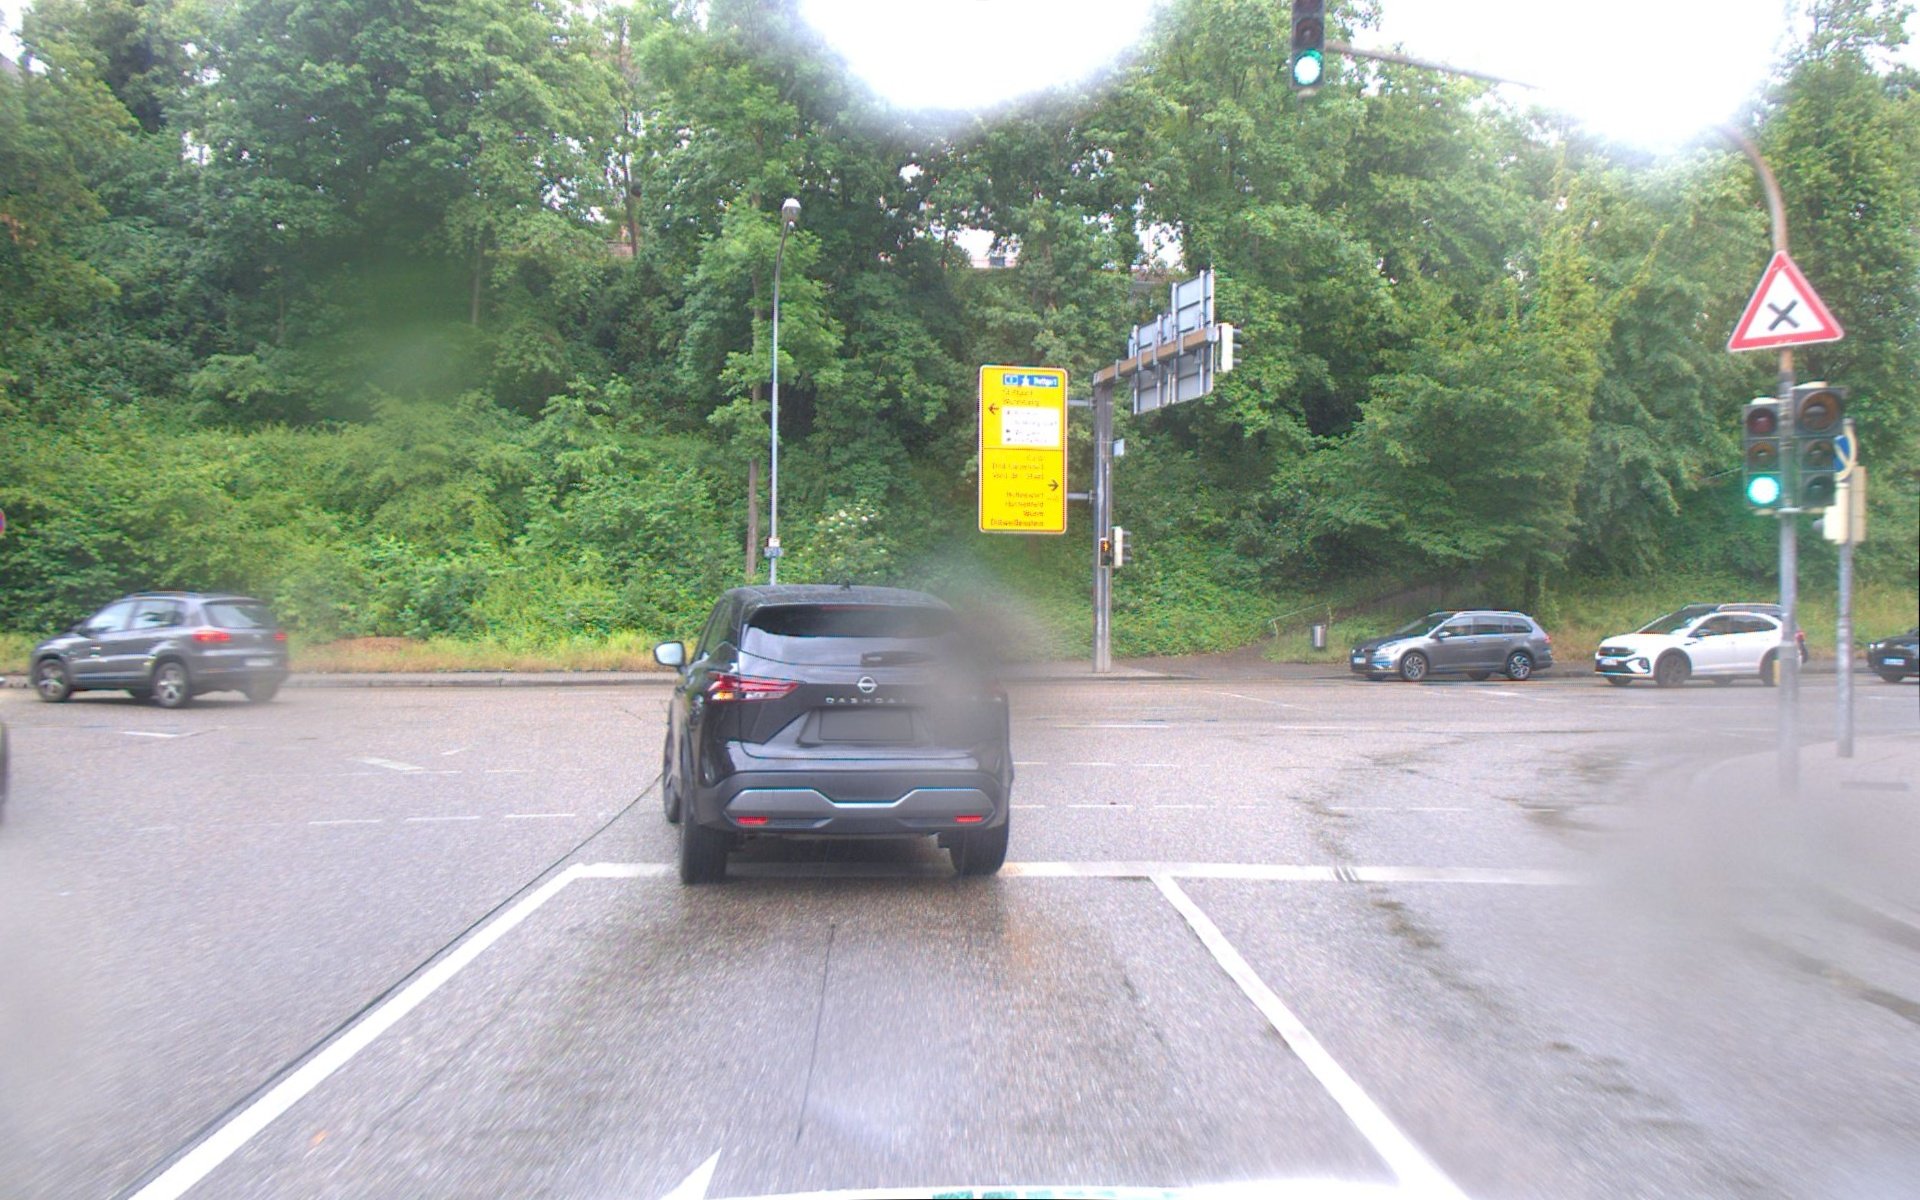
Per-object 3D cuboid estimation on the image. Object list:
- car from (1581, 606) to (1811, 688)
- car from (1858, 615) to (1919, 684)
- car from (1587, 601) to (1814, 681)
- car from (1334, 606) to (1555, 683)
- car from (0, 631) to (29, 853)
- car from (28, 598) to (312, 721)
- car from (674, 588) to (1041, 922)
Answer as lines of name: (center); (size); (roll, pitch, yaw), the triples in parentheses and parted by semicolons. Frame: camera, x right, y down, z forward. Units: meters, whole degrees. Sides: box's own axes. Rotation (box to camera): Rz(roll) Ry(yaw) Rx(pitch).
car: (14.822, 0.914, 33.362); (4.075, 1.589, 1.801); (0, 0, -16)
car: (21.467, 1.031, 35.223); (4.075, 1.394, 1.801); (0, 0, -16)
car: (16.746, 0.899, 37.448); (4.532, 1.726, 1.821); (0, 0, -13)
car: (10.516, 0.935, 36.010); (4.250, 1.528, 1.877); (-1, 0, -13)
car: (-8.292, 0.992, 12.523); (1.796, 1.475, 4.155); (0, 0, -35)
car: (-12.089, 0.851, 25.323); (3.907, 1.630, 1.816); (1, 2, 23)
car: (-0.832, 0.786, 10.241); (1.778, 1.631, 3.989); (1, -1, -11)
